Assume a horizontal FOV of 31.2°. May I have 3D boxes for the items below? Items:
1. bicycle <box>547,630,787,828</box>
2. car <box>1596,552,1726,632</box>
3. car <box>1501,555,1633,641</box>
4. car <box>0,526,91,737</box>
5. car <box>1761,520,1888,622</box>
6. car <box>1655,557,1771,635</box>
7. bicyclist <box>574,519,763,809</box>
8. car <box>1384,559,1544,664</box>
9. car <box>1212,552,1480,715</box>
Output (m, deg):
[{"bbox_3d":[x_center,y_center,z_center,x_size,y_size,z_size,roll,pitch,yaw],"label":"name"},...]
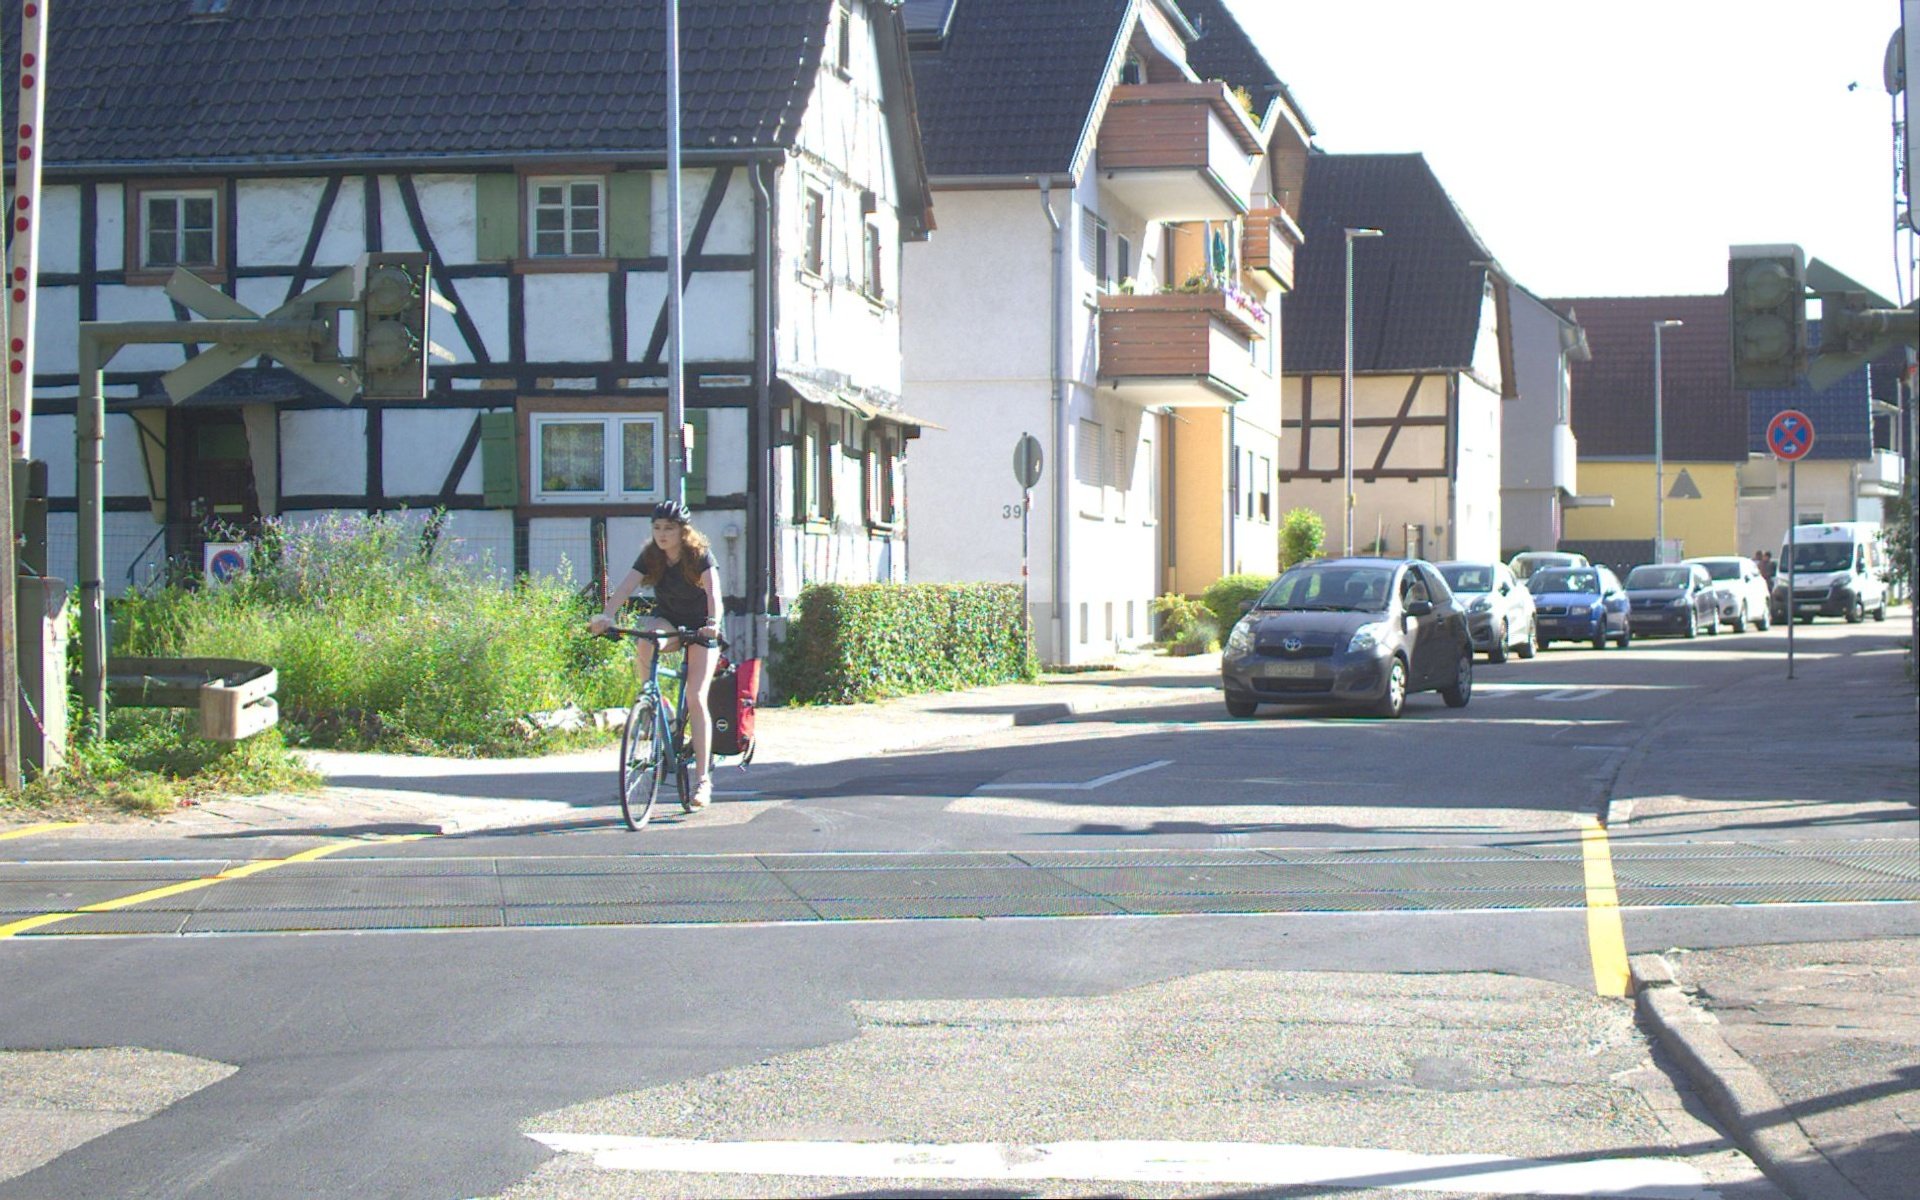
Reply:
[{"bbox_3d":[-1.561,0.675,18.725,0.884,1.002,2.062,-1,0,7],"label":"bicycle"},{"bbox_3d":[14.079,-0.174,68.897,1.705,1.513,4.117,-2,0,23],"label":"car"},{"bbox_3d":[10.619,-0.037,59.969,1.640,1.436,4.071,-1,0,19],"label":"car"},{"bbox_3d":[-8.300,0.197,27.103,1.683,1.559,4.000,2,0,-31],"label":"car"},{"bbox_3d":[21.375,-0.710,84.884,2.079,2.386,5.202,-2,0,24],"label":"car"},{"bbox_3d":[16.030,-0.105,73.059,1.675,1.566,3.961,-2,0,23],"label":"car"},{"bbox_3d":[-1.580,0.344,18.739,0.848,1.536,0.873,-1,0,7],"label":"bicyclist"},{"bbox_3d":[7.643,0.148,51.867,1.675,1.501,4.091,-1,0,18],"label":"car"},{"bbox_3d":[3.840,0.307,33.720,1.688,1.505,3.650,-1,0,22],"label":"car"}]
